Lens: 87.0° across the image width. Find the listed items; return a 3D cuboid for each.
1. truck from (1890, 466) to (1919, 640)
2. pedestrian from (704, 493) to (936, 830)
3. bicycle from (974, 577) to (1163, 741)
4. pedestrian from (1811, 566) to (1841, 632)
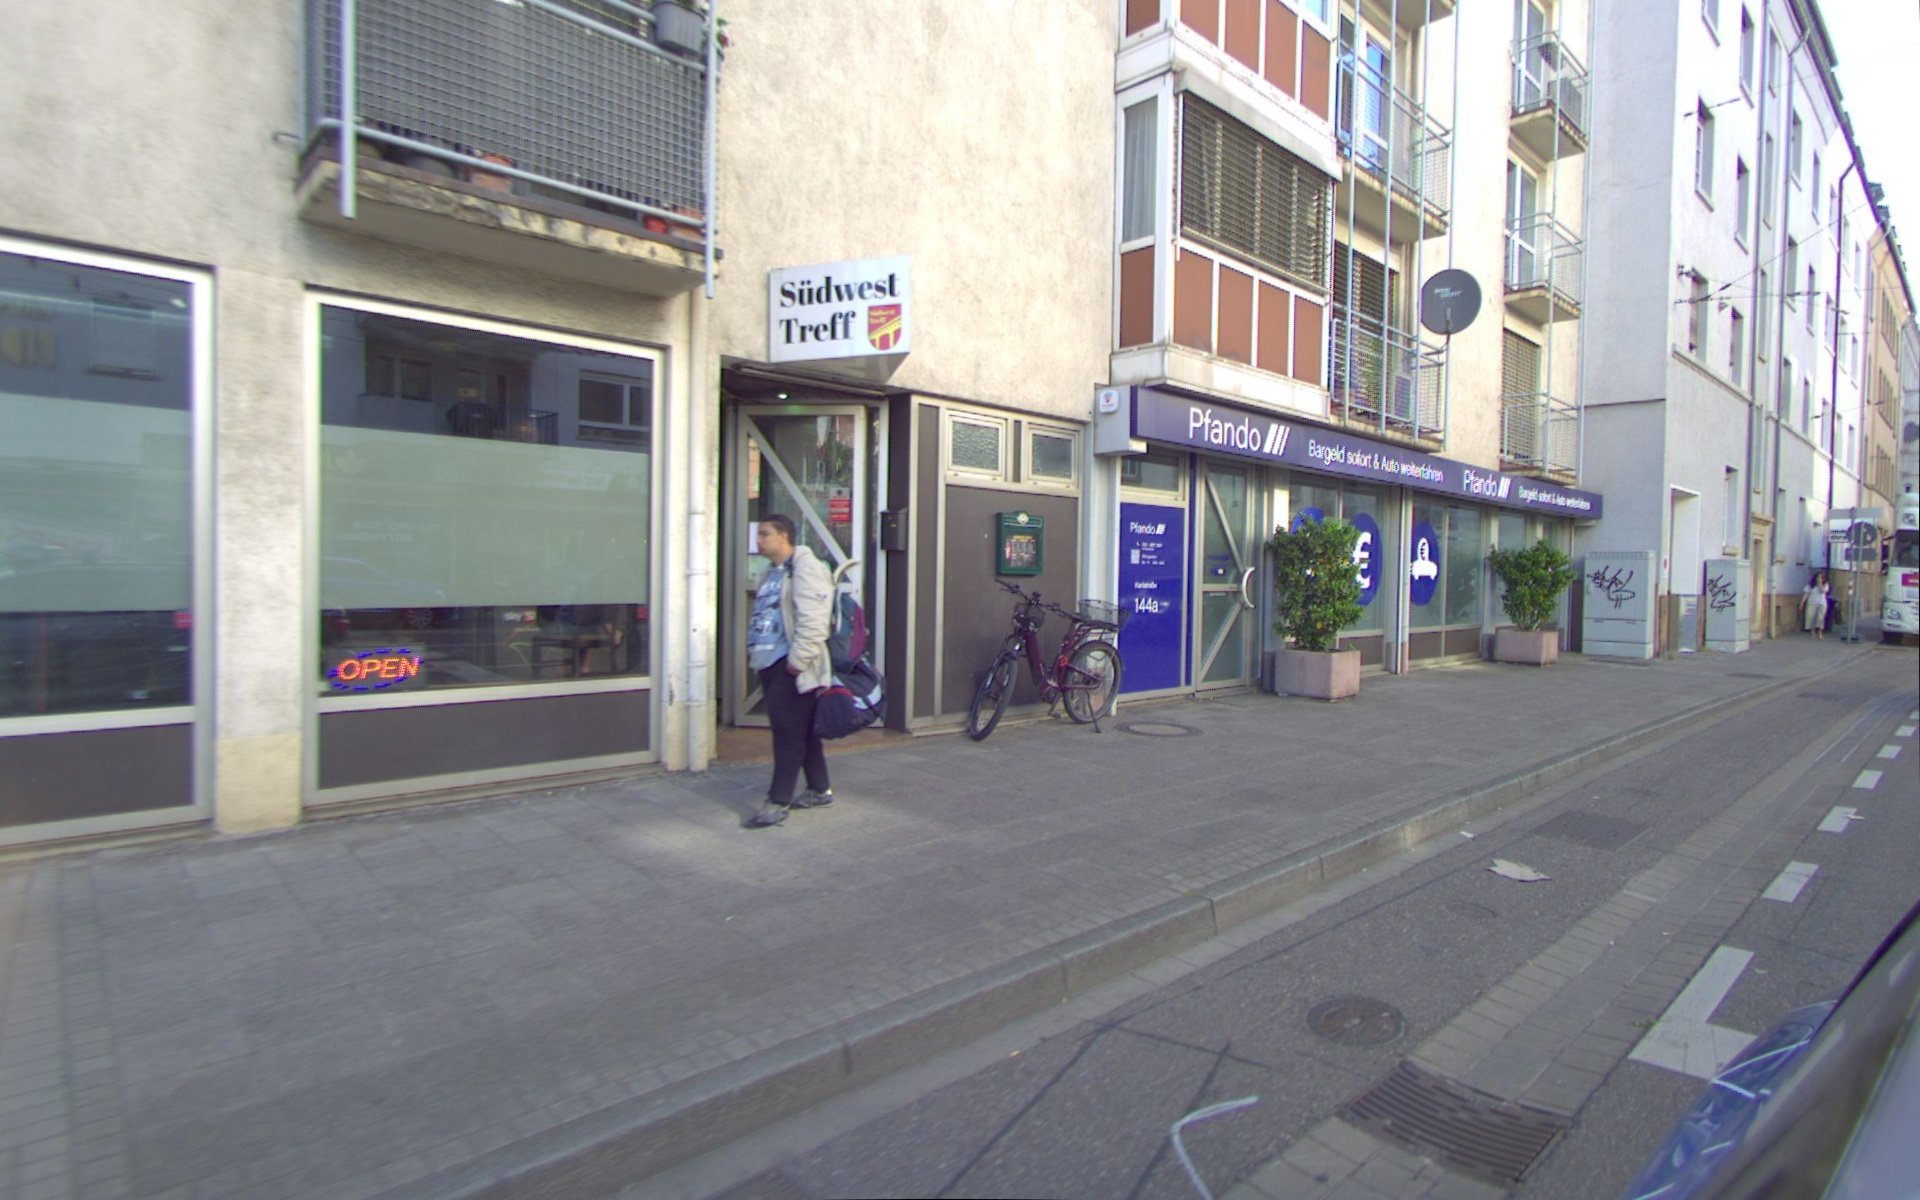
[{"bbox_3d":[28.485,-1.291,28.165,11.577,4.290,2.697,-2,3,-42],"label":"truck"},{"bbox_3d":[-0.756,0.267,5.430,0.884,1.611,0.798,5,3,42],"label":"pedestrian"},{"bbox_3d":[0.913,0.414,8.180,1.747,1.176,0.497,-2,2,-43],"label":"bicycle"},{"bbox_3d":[21.975,-0.029,25.674,0.459,1.649,0.475,-1,2,-41],"label":"pedestrian"}]
